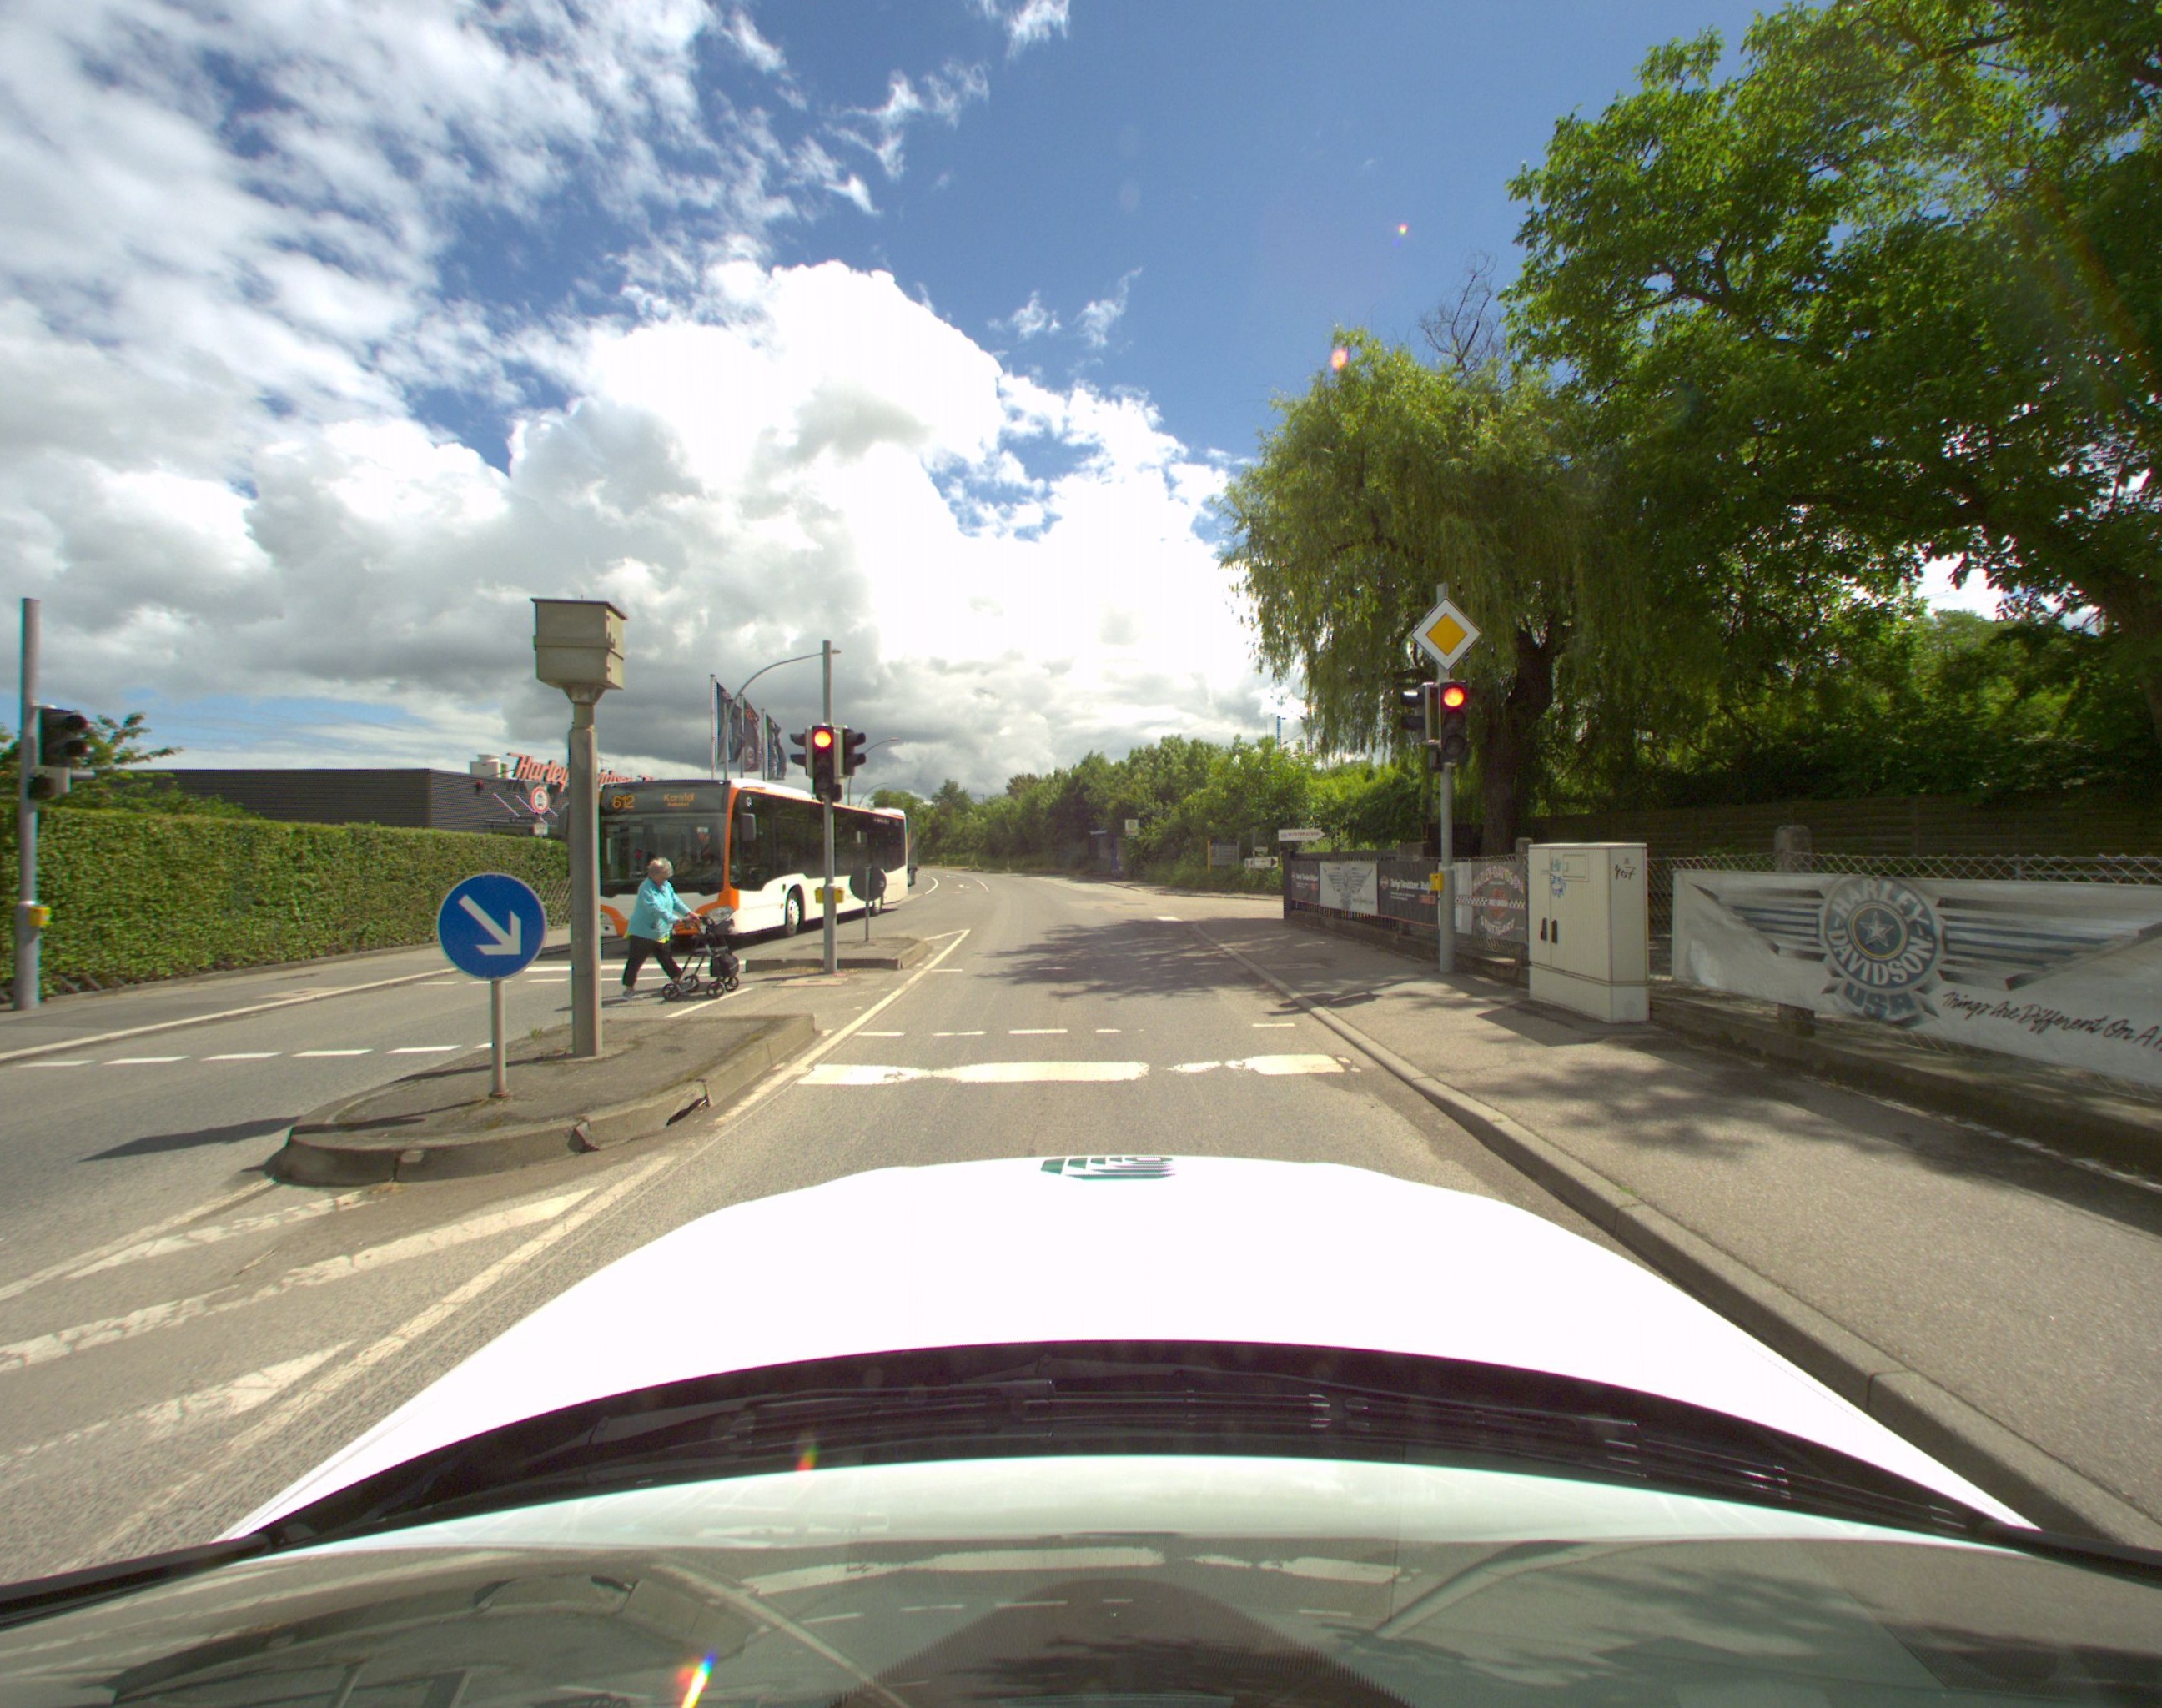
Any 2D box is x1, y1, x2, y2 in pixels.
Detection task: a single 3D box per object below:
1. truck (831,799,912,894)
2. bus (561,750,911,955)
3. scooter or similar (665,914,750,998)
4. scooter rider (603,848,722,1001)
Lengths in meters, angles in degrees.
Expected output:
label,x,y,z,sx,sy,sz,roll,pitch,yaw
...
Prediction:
label,x,y,z,sx,sy,sz,roll,pitch,yaw
truck,-10.214,-0.292,40.589,2.425,4.131,9.132,1,-1,-5
bus,-6.920,0.005,19.377,2.767,3.266,12.127,-2,0,2
scooter or similar,-4.104,1.109,8.992,0.609,0.831,0.659,-1,0,0
scooter rider,-4.575,0.738,8.956,0.875,1.589,0.796,-1,0,0
